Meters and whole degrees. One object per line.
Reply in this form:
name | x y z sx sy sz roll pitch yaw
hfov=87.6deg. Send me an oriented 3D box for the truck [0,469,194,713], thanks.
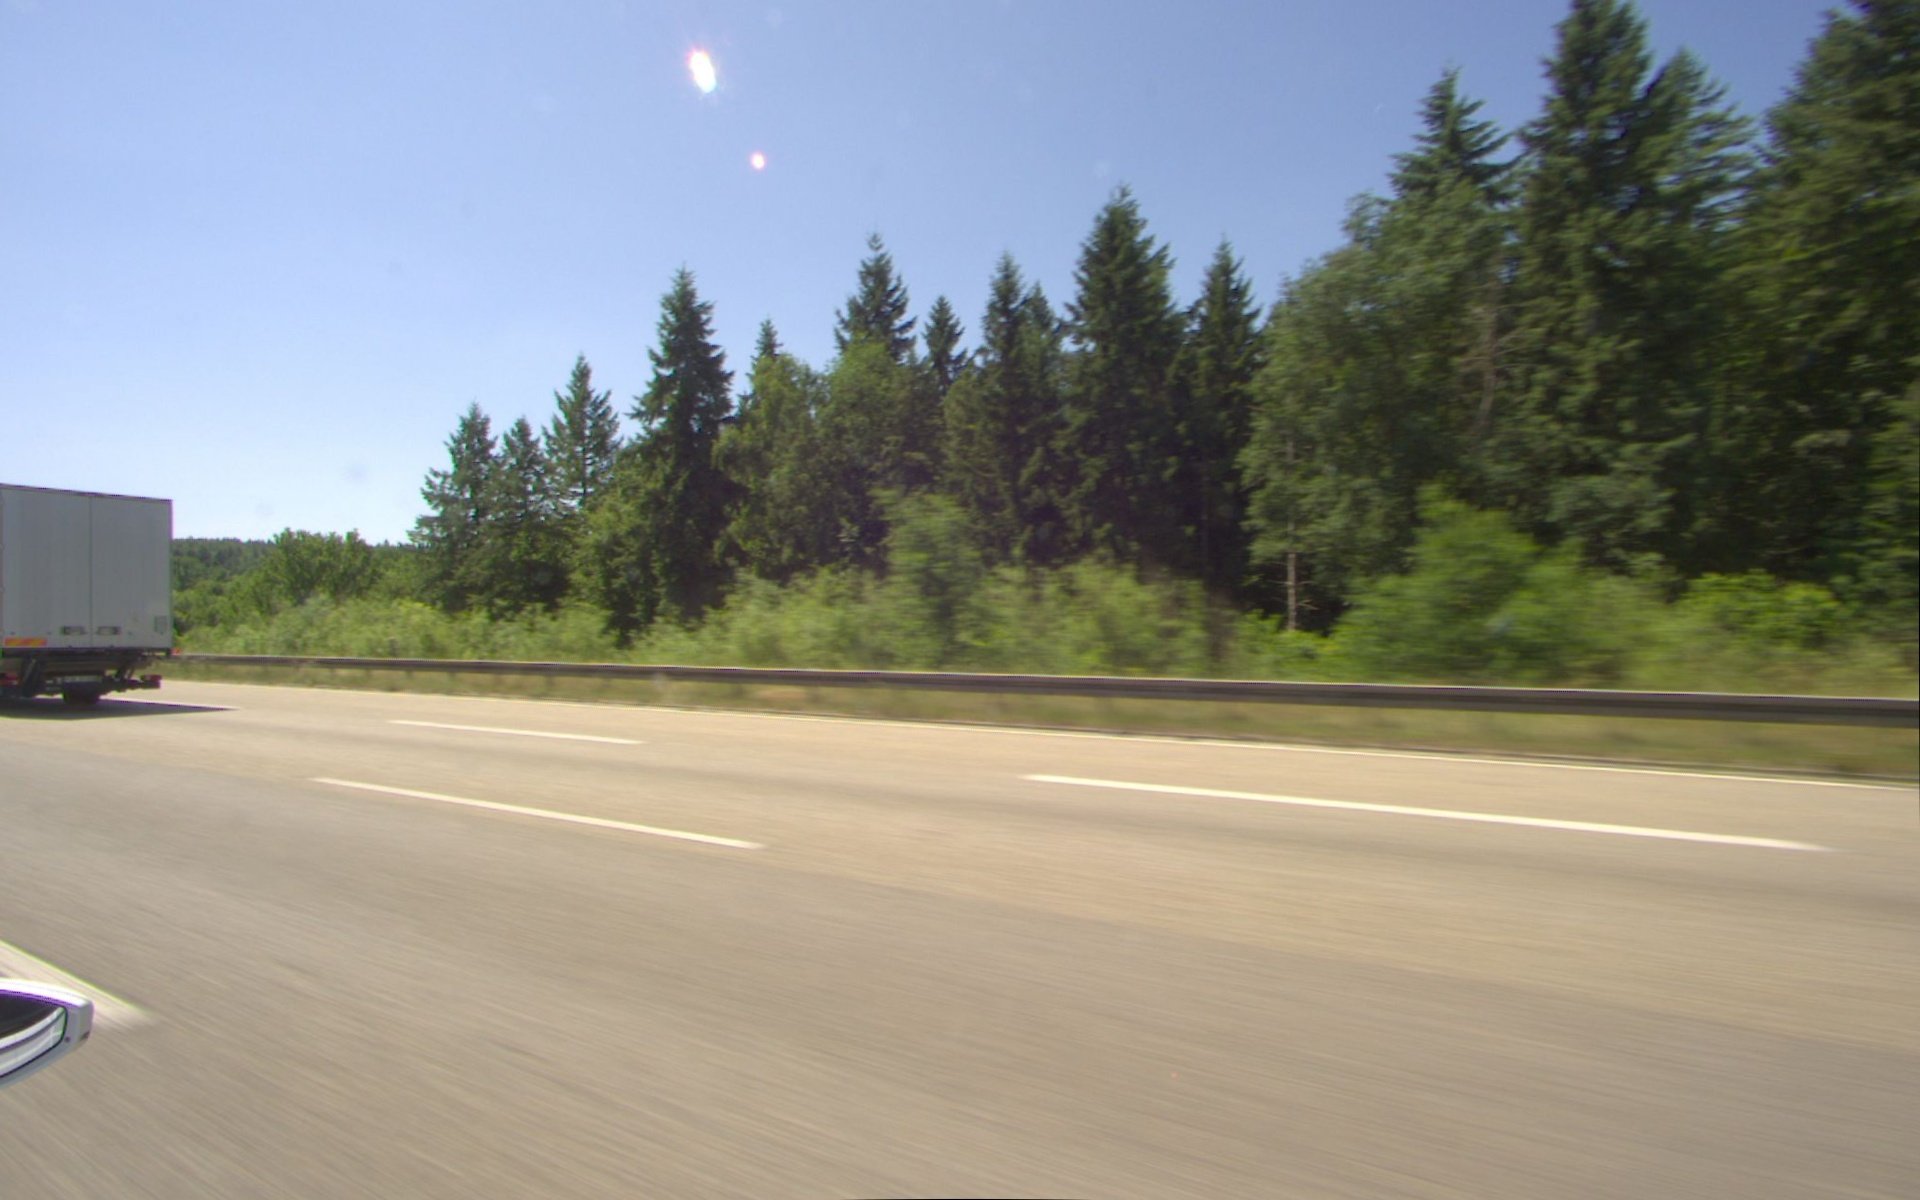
truck | -19.758 0.002 20.869 9.600 4.180 2.779 -1 -2 32
